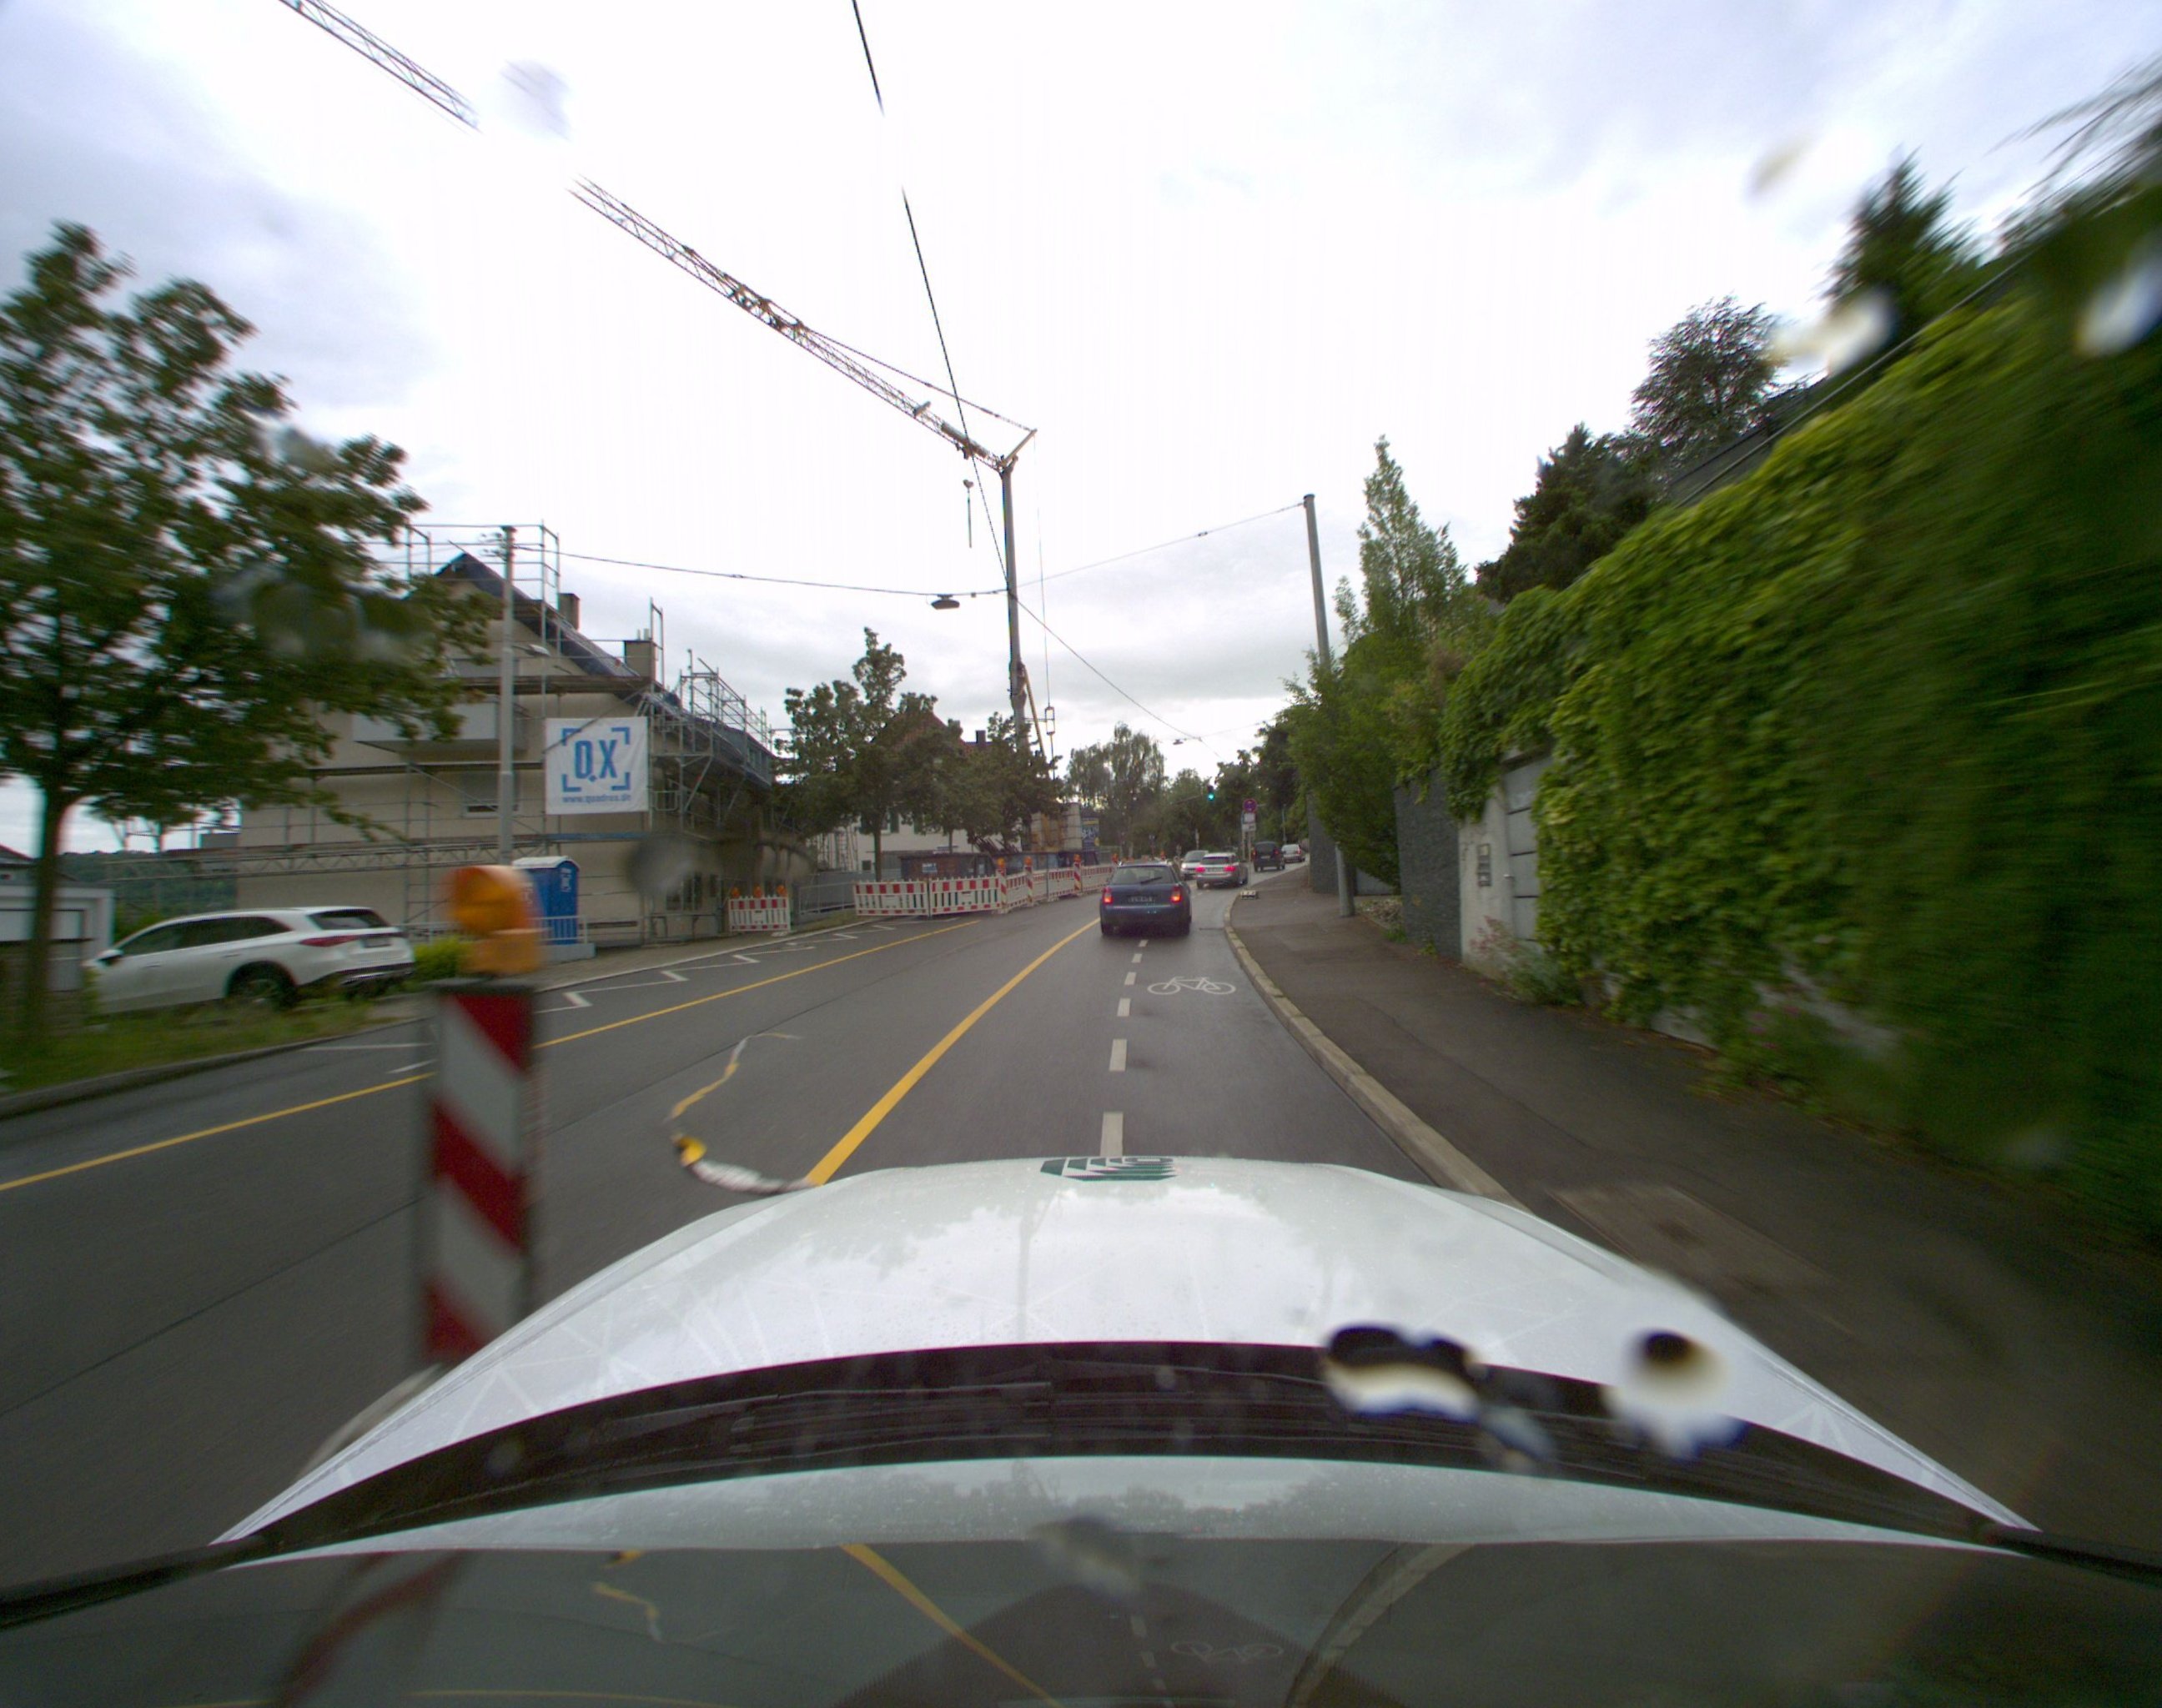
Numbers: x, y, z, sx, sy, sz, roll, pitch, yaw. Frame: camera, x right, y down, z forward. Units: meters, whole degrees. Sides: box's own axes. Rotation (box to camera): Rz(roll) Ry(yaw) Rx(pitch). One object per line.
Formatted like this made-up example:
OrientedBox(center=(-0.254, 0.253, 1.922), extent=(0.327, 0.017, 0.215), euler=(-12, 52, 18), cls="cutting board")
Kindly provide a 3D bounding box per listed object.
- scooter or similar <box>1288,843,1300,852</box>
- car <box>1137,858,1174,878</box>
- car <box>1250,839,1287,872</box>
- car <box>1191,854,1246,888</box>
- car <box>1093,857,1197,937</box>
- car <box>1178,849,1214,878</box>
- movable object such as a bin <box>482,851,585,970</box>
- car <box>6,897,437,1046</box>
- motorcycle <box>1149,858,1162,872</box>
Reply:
OrientedBox(center=(36.349, -1.108, 138.885), extent=(1.823, 1.315, 0.601), euler=(1, -3, 8), cls="scooter or similar")
OrientedBox(center=(6.923, 1.303, 75.625), extent=(1.691, 1.509, 3.982), euler=(-6, -2, -21), cls="car")
OrientedBox(center=(12.052, 0.048, 52.208), extent=(1.716, 1.894, 4.075), euler=(-5, -1, 20), cls="car")
OrientedBox(center=(6.020, 0.708, 35.313), extent=(1.895, 1.388, 4.368), euler=(-1, -1, 15), cls="car")
OrientedBox(center=(1.448, 0.810, 16.988), extent=(1.766, 1.439, 4.011), euler=(-1, 0, 10), cls="car")
OrientedBox(center=(6.429, 0.515, 45.300), extent=(1.444, 1.526, 2.937), euler=(-1, 0, 18), cls="car")
OrientedBox(center=(-12.240, 1.219, 18.270), extent=(1.309, 2.505, 1.385), euler=(-3, -1, -3), cls="movable object such as a bin")
OrientedBox(center=(-12.829, 1.688, 12.440), extent=(4.191, 1.604, 1.947), euler=(-5, -1, -5), cls="car")
OrientedBox(center=(6.299, 0.922, 68.523), extent=(0.586, 1.131, 1.852), euler=(-5, -1, 19), cls="motorcycle")
